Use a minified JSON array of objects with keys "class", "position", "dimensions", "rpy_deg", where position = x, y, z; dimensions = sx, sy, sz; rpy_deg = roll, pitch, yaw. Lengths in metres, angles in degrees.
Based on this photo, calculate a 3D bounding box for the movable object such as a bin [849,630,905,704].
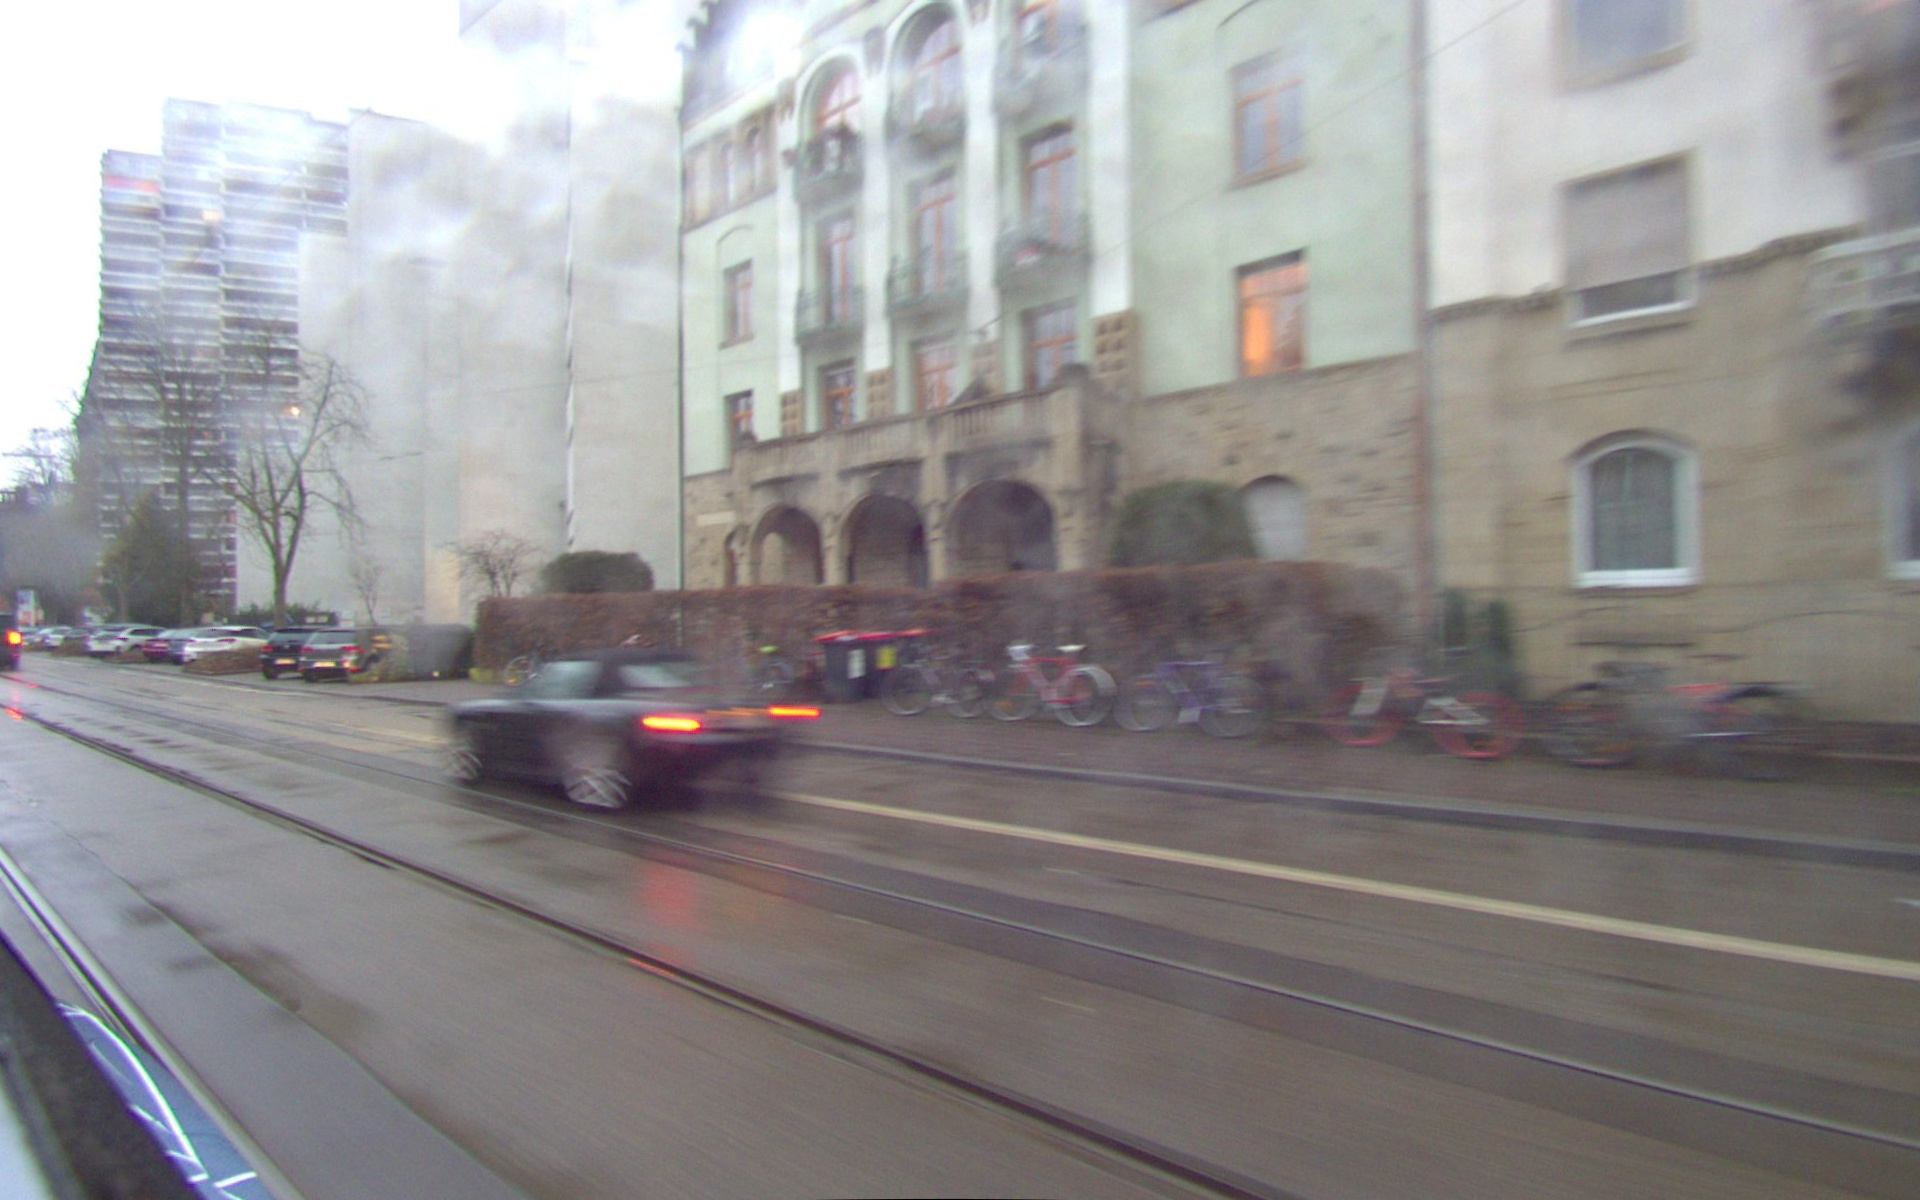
[{"class":"movable object such as a bin","position":[-1.351,1.077,16.536],"dimensions":[0.675,1.173,0.616],"rpy_deg":[-2,-2,44]}]

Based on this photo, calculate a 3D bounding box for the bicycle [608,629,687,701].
[{"class":"bicycle","position":[-5.650,1.144,18.248],"dimensions":[1.662,1.221,0.616],"rpy_deg":[-2,-2,44]}]

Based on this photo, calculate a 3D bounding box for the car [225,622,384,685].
[{"class":"car","position":[-18.861,1.491,29.353],"dimensions":[1.845,1.608,3.995],"rpy_deg":[-1,-1,4]}]

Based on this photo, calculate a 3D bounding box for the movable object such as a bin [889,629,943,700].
[{"class":"movable object such as a bin","position":[-0.743,1.078,17.170],"dimensions":[0.675,1.173,0.616],"rpy_deg":[-2,-2,44]}]

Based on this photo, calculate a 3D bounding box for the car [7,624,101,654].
[{"class":"car","position":[-53.029,2.255,59.325],"dimensions":[1.845,1.608,3.995],"rpy_deg":[-1,-1,4]}]

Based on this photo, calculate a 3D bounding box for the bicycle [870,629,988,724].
[{"class":"bicycle","position":[-0.444,1.012,13.852],"dimensions":[1.662,1.221,0.616],"rpy_deg":[-2,-2,44]}]

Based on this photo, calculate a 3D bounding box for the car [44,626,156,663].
[{"class":"car","position":[-41.103,2.092,48.469],"dimensions":[1.845,1.608,3.995],"rpy_deg":[-1,-1,4]}]

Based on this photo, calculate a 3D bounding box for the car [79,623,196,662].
[{"class":"car","position":[-36.495,1.848,45.027],"dimensions":[1.845,1.608,3.995],"rpy_deg":[-1,-1,4]}]

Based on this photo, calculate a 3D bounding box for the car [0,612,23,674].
[{"class":"car","position":[-33.567,1.458,34.303],"dimensions":[4.459,2.029,2.209],"rpy_deg":[-1,0,41]}]

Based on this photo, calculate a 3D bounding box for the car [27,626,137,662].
[{"class":"car","position":[-43.242,2.129,49.963],"dimensions":[1.845,1.608,3.995],"rpy_deg":[-1,-1,4]}]

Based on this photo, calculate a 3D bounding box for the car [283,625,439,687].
[{"class":"car","position":[-16.275,1.479,27.764],"dimensions":[1.742,1.497,3.995],"rpy_deg":[-1,-1,4]}]

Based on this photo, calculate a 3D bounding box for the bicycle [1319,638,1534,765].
[{"class":"bicycle","position":[4.374,0.910,9.571],"dimensions":[1.727,1.073,0.616],"rpy_deg":[-2,-2,44]}]

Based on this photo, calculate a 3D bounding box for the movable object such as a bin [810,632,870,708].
[{"class":"movable object such as a bin","position":[-1.905,1.095,16.088],"dimensions":[0.675,1.173,0.650],"rpy_deg":[-2,-2,44]}]

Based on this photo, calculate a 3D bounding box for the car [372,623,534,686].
[{"class":"car","position":[-13.597,1.427,27.423],"dimensions":[1.850,1.505,3.984],"rpy_deg":[-1,-1,12]}]

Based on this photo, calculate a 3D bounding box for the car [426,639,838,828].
[{"class":"car","position":[-2.949,0.994,8.818],"dimensions":[3.661,1.262,1.690],"rpy_deg":[-2,-2,38]}]

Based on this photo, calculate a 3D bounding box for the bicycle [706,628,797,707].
[{"class":"bicycle","position":[-3.422,1.079,16.556],"dimensions":[1.662,1.221,0.616],"rpy_deg":[-2,-2,44]}]

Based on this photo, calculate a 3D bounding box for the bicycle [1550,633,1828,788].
[{"class":"bicycle","position":[5.966,0.848,8.358],"dimensions":[1.783,1.134,0.616],"rpy_deg":[-2,-2,44]}]

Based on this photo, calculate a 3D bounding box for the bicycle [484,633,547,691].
[{"class":"bicycle","position":[-9.419,1.286,21.432],"dimensions":[1.662,1.173,0.616],"rpy_deg":[-2,-1,44]}]

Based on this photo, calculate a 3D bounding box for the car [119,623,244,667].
[{"class":"car","position":[-31.365,1.786,40.942],"dimensions":[1.845,1.608,3.995],"rpy_deg":[-1,-1,4]}]

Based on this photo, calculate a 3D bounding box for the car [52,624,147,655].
[{"class":"car","position":[-48.452,2.198,57.077],"dimensions":[1.845,1.608,3.995],"rpy_deg":[-1,-1,4]}]

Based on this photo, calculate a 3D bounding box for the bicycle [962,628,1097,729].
[{"class":"bicycle","position":[0.847,0.941,12.628],"dimensions":[1.662,1.173,0.616],"rpy_deg":[-2,-2,44]}]

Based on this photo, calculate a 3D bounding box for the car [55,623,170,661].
[{"class":"car","position":[-38.791,1.882,46.448],"dimensions":[1.845,1.608,3.995],"rpy_deg":[-1,-1,4]}]

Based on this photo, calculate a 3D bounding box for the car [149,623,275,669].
[{"class":"car","position":[-29.037,1.755,39.449],"dimensions":[1.845,1.608,3.995],"rpy_deg":[-1,-1,4]}]

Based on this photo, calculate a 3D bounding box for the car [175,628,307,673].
[{"class":"car","position":[-26.075,1.787,36.885],"dimensions":[1.845,1.460,3.995],"rpy_deg":[-1,-1,4]}]

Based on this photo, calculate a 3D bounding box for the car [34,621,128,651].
[{"class":"car","position":[-50.792,2.034,58.591],"dimensions":[1.845,1.608,3.995],"rpy_deg":[-1,-1,4]}]

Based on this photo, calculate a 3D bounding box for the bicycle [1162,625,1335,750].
[{"class":"bicycle","position":[3.048,0.887,10.786],"dimensions":[1.662,1.221,0.616],"rpy_deg":[-2,-2,44]}]
